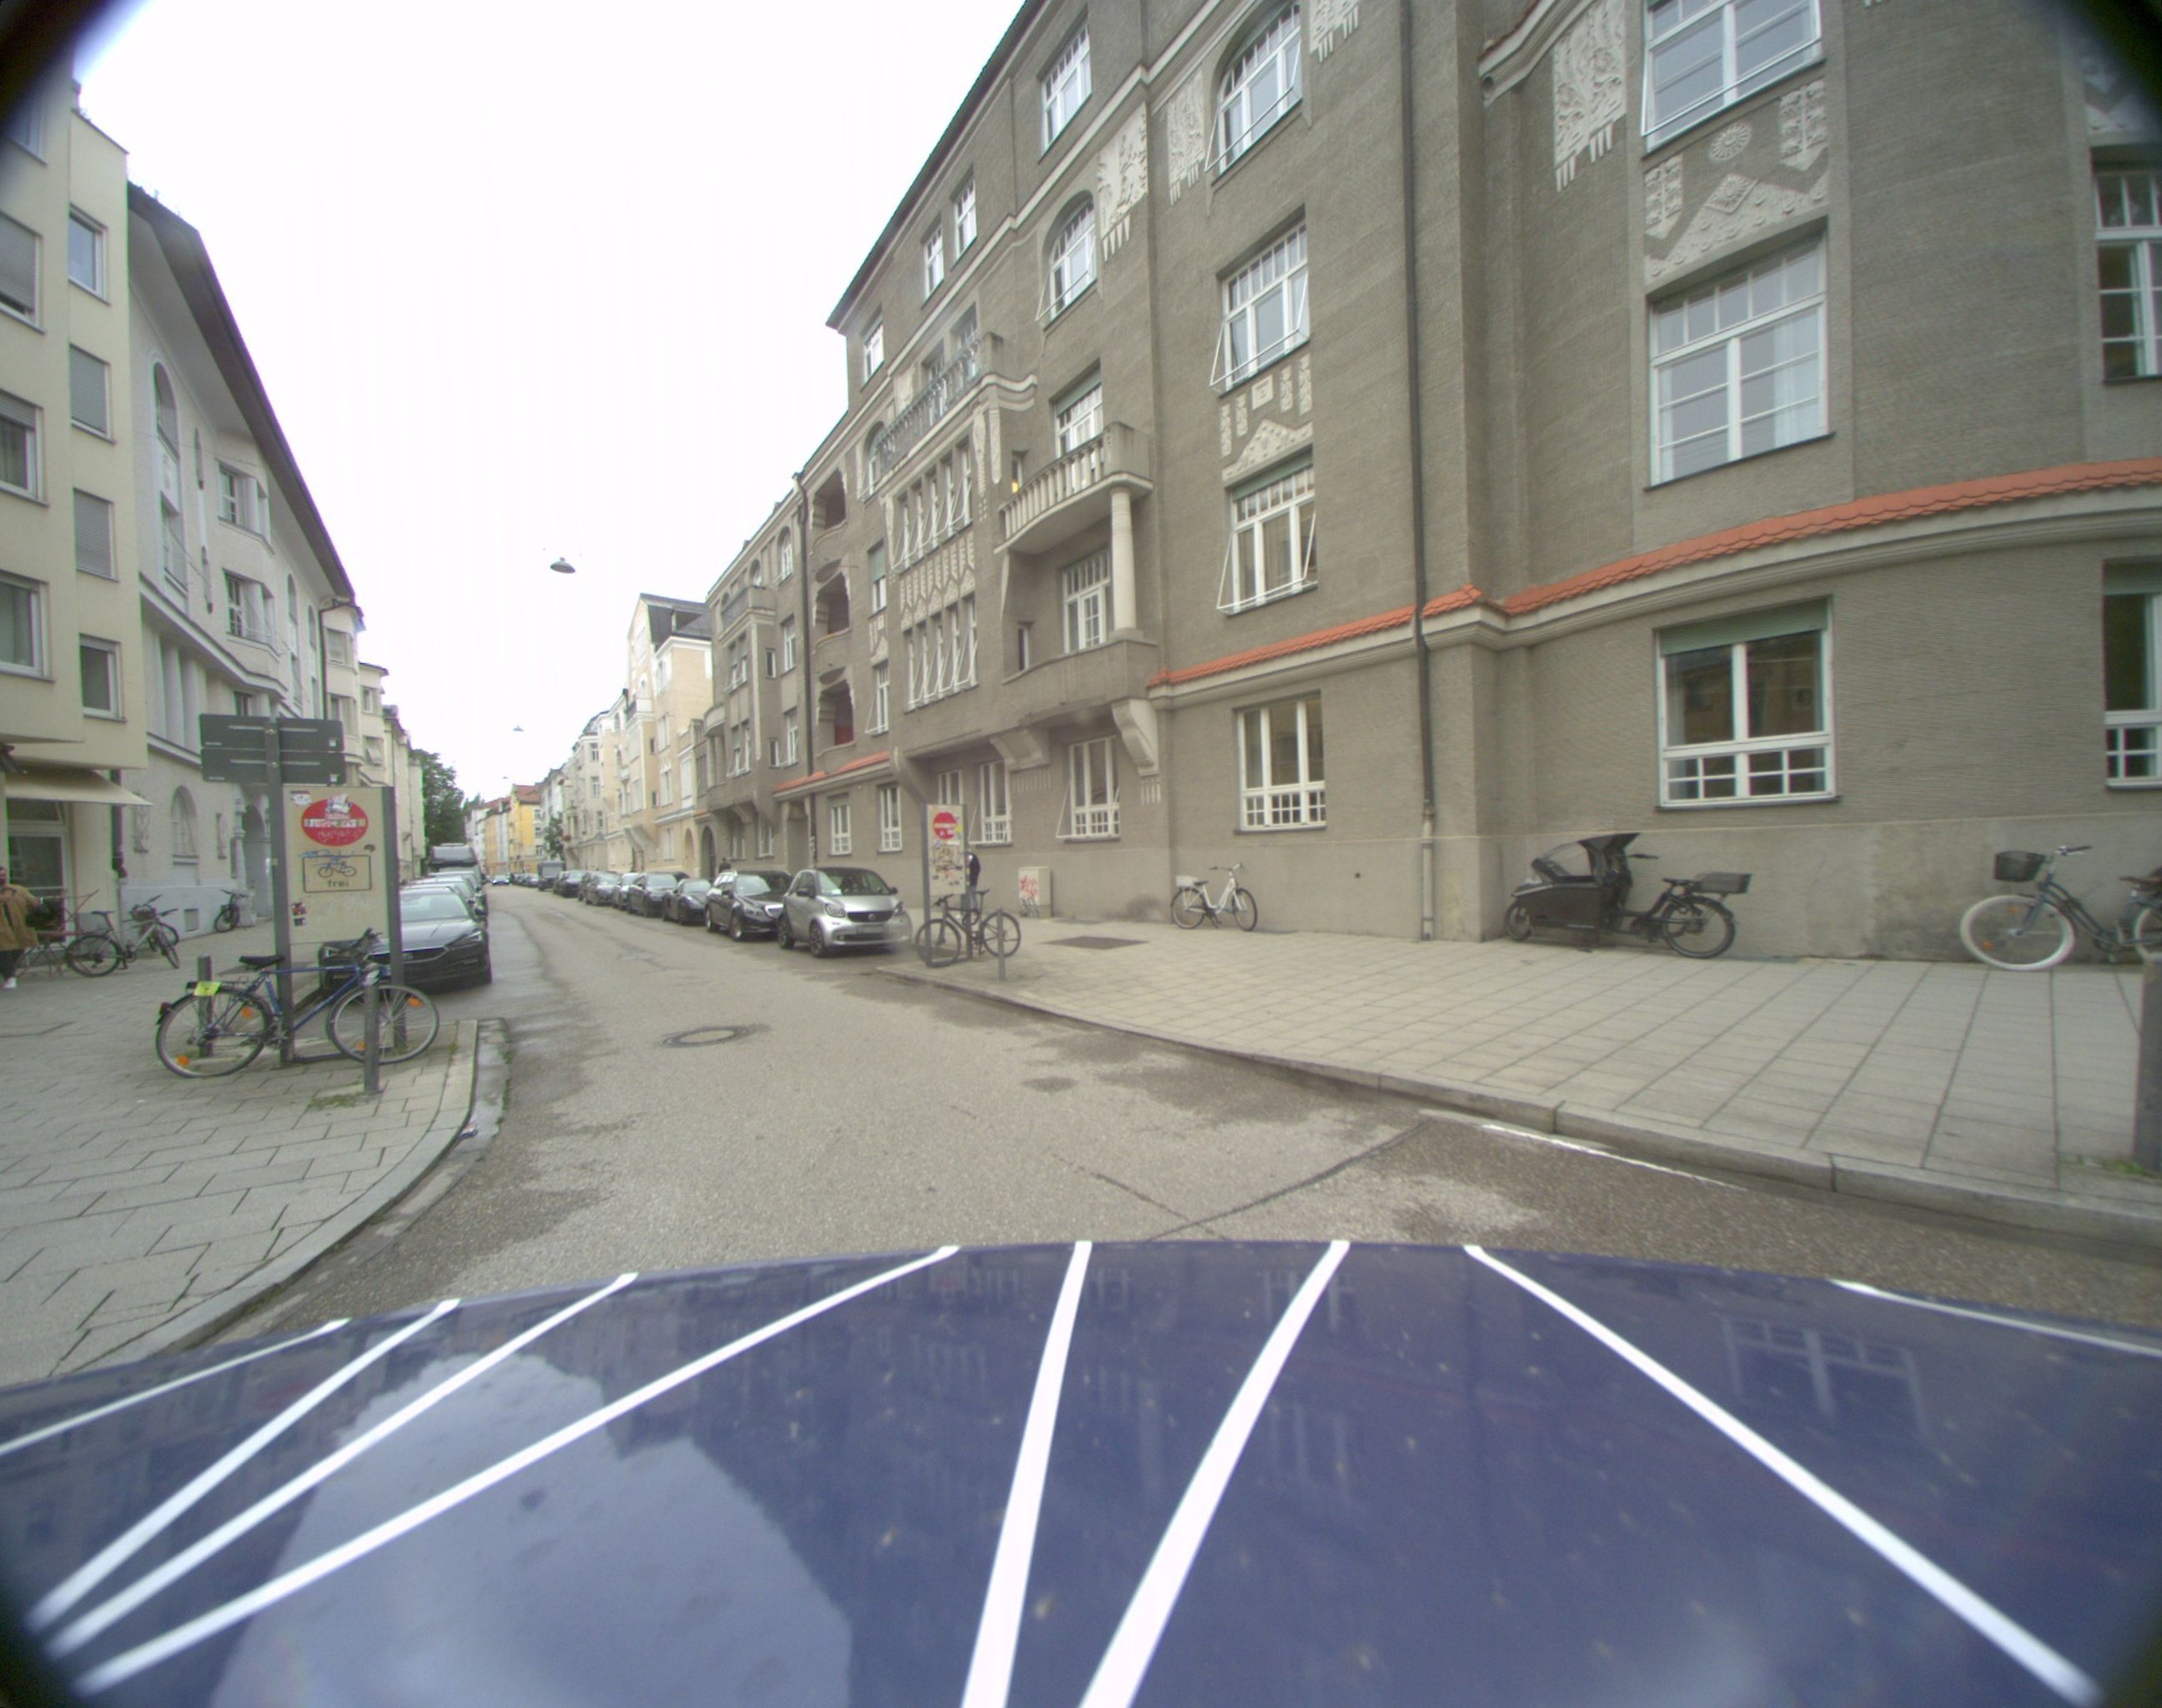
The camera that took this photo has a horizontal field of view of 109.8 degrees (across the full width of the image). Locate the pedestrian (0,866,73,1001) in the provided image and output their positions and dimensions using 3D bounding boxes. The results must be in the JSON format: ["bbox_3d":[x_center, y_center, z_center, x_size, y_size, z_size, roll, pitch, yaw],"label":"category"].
[{"bbox_3d":[-15.070,1.101,10.732,1.014,1.836,0.743,-2,-3,23],"label":"pedestrian"}]

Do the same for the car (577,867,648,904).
[{"bbox_3d":[-21.294,1.388,34.456,1.846,1.504,4.595,-2,0,-42],"label":"car"}]

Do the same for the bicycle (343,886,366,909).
[{"bbox_3d":[-38.222,2.284,40.005,0.644,1.111,1.962,-3,1,-38],"label":"bicycle"}]

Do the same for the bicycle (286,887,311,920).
[{"bbox_3d":[-28.867,1.812,28.053,0.484,1.143,1.783,1,-1,-41],"label":"bicycle"}]

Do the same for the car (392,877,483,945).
[{"bbox_3d":[-17.191,1.434,20.250,1.642,1.528,3.844,-3,1,-42],"label":"car"}]

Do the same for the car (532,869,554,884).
[{"bbox_3d":[-57.208,2.376,80.750,1.687,1.390,3.695,-3,1,-38],"label":"car"}]

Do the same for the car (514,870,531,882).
[{"bbox_3d":[-78.538,3.116,106.844,1.687,1.628,3.695,-3,1,-40],"label":"car"}]

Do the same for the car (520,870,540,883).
[{"bbox_3d":[-67.526,2.756,93.094,1.687,1.390,3.695,-3,1,-40],"label":"car"}]

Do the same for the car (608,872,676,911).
[{"bbox_3d":[-17.612,1.445,30.399,1.815,1.423,4.427,-1,-1,-37],"label":"car"}]

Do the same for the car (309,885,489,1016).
[{"bbox_3d":[-10.373,1.291,11.722,1.701,1.463,4.598,-3,1,-40],"label":"car"}]

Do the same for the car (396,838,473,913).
[{"bbox_3d":[-28.591,0.853,33.781,2.265,2.943,6.115,-4,3,-39],"label":"car"}]

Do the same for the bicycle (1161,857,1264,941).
[{"bbox_3d":[2.243,0.745,13.081,0.622,1.342,1.670,-3,2,-43],"label":"bicycle"}]

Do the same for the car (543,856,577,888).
[{"bbox_3d":[-44.998,1.539,65.595,2.110,2.605,5.663,-1,0,-38],"label":"car"}]

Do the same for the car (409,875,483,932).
[{"bbox_3d":[-20.432,1.510,24.443,1.642,1.583,3.957,-3,1,-41],"label":"car"}]

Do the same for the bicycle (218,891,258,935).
[{"bbox_3d":[-24.086,1.677,21.731,0.484,1.144,1.783,-3,1,-41],"label":"bicycle"}]

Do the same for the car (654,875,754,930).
[{"bbox_3d":[-10.875,1.317,21.770,1.764,1.323,4.086,-2,0,-38],"label":"car"}]

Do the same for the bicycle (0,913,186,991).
[{"bbox_3d":[-15.904,1.539,12.298,0.753,1.026,1.799,-1,0,-3],"label":"bicycle"}]

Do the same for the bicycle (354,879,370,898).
[{"bbox_3d":[-42.776,2.043,45.219,0.495,1.111,1.962,-3,1,-38],"label":"bicycle"}]

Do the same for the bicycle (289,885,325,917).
[{"bbox_3d":[-30.503,1.851,29.977,0.484,1.144,1.784,-3,1,-30],"label":"bicycle"}]

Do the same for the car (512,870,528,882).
[{"bbox_3d":[-85.145,3.349,115.323,1.687,1.628,3.695,-3,1,-40],"label":"car"}]

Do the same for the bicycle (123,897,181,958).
[{"bbox_3d":[-19.888,1.538,16.291,0.566,1.185,1.672,1,-1,-43],"label":"bicycle"}]

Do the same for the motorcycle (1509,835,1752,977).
[{"bbox_3d":[6.267,0.538,8.790,0.739,1.432,2.141,-3,1,-40],"label":"motorcycle"}]

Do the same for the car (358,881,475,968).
[{"bbox_3d":[-14.001,1.379,16.099,1.642,1.463,3.844,-3,1,-40],"label":"car"}]

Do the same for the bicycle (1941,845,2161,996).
[{"bbox_3d":[9.195,0.566,6.756,1.922,1.249,0.739,-2,1,21],"label":"bicycle"}]

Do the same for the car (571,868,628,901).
[{"bbox_3d":[-25.134,1.568,39.583,1.812,1.563,3.803,-3,1,-42],"label":"car"}]

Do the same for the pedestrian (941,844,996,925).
[{"bbox_3d":[-2.603,0.676,17.552,0.843,1.777,0.933,-3,2,-36],"label":"pedestrian"}]

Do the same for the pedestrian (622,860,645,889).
[{"bbox_3d":[-27.435,1.238,46.556,0.997,1.719,0.937,-3,2,-39],"label":"pedestrian"}]

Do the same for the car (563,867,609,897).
[{"bbox_3d":[-30.605,1.694,46.917,1.961,1.649,4.605,-2,0,-38],"label":"car"}]

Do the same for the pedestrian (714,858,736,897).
[{"bbox_3d":[-17.229,1.133,36.729,0.720,1.807,0.728,-3,2,-39],"label":"pedestrian"}]

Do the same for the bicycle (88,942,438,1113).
[{"bbox_3d":[-6.266,1.295,5.924,1.798,1.079,0.665,-1,-1,-11],"label":"bicycle"}]

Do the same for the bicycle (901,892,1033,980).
[{"bbox_3d":[-1.604,1.138,10.955,1.811,1.009,0.539,-4,2,-39],"label":"bicycle"}]

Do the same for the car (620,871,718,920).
[{"bbox_3d":[-14.145,1.328,25.948,2.004,1.440,4.766,-2,0,-40],"label":"car"}]

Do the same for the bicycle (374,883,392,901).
[{"bbox_3d":[-46.708,2.514,50.848,0.649,1.111,1.962,-3,1,-38],"label":"bicycle"}]

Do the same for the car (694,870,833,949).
[{"bbox_3d":[-7.450,1.164,17.542,1.764,1.506,4.695,-2,0,-38],"label":"car"}]

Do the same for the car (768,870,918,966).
[{"bbox_3d":[-4.440,1.071,13.963,1.713,1.506,2.903,-1,0,-38],"label":"car"}]
